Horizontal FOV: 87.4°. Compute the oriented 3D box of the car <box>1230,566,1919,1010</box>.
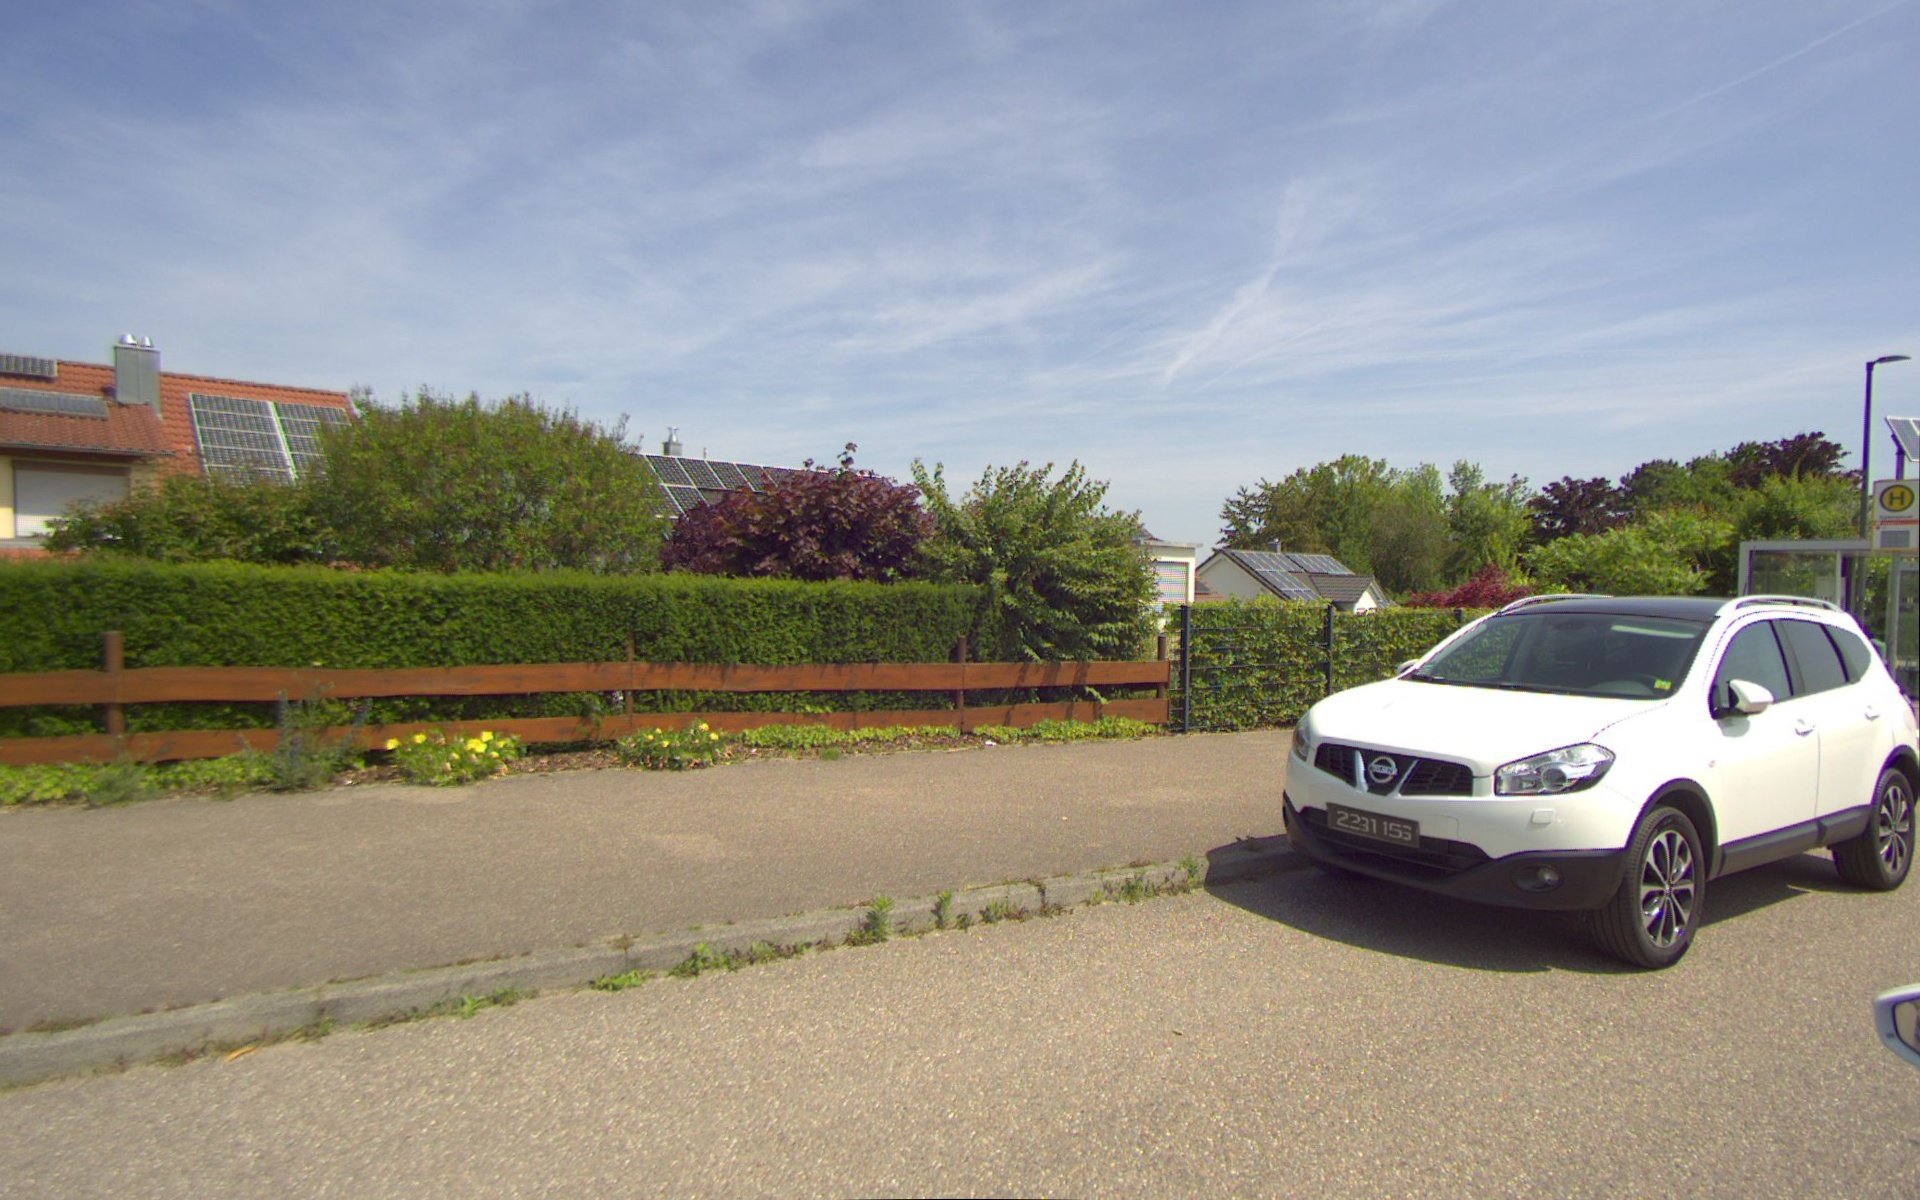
[{"bbox_3d":[3.683,0.755,5.642,4.305,1.655,1.725,2,0,-32],"label":"car"}]
